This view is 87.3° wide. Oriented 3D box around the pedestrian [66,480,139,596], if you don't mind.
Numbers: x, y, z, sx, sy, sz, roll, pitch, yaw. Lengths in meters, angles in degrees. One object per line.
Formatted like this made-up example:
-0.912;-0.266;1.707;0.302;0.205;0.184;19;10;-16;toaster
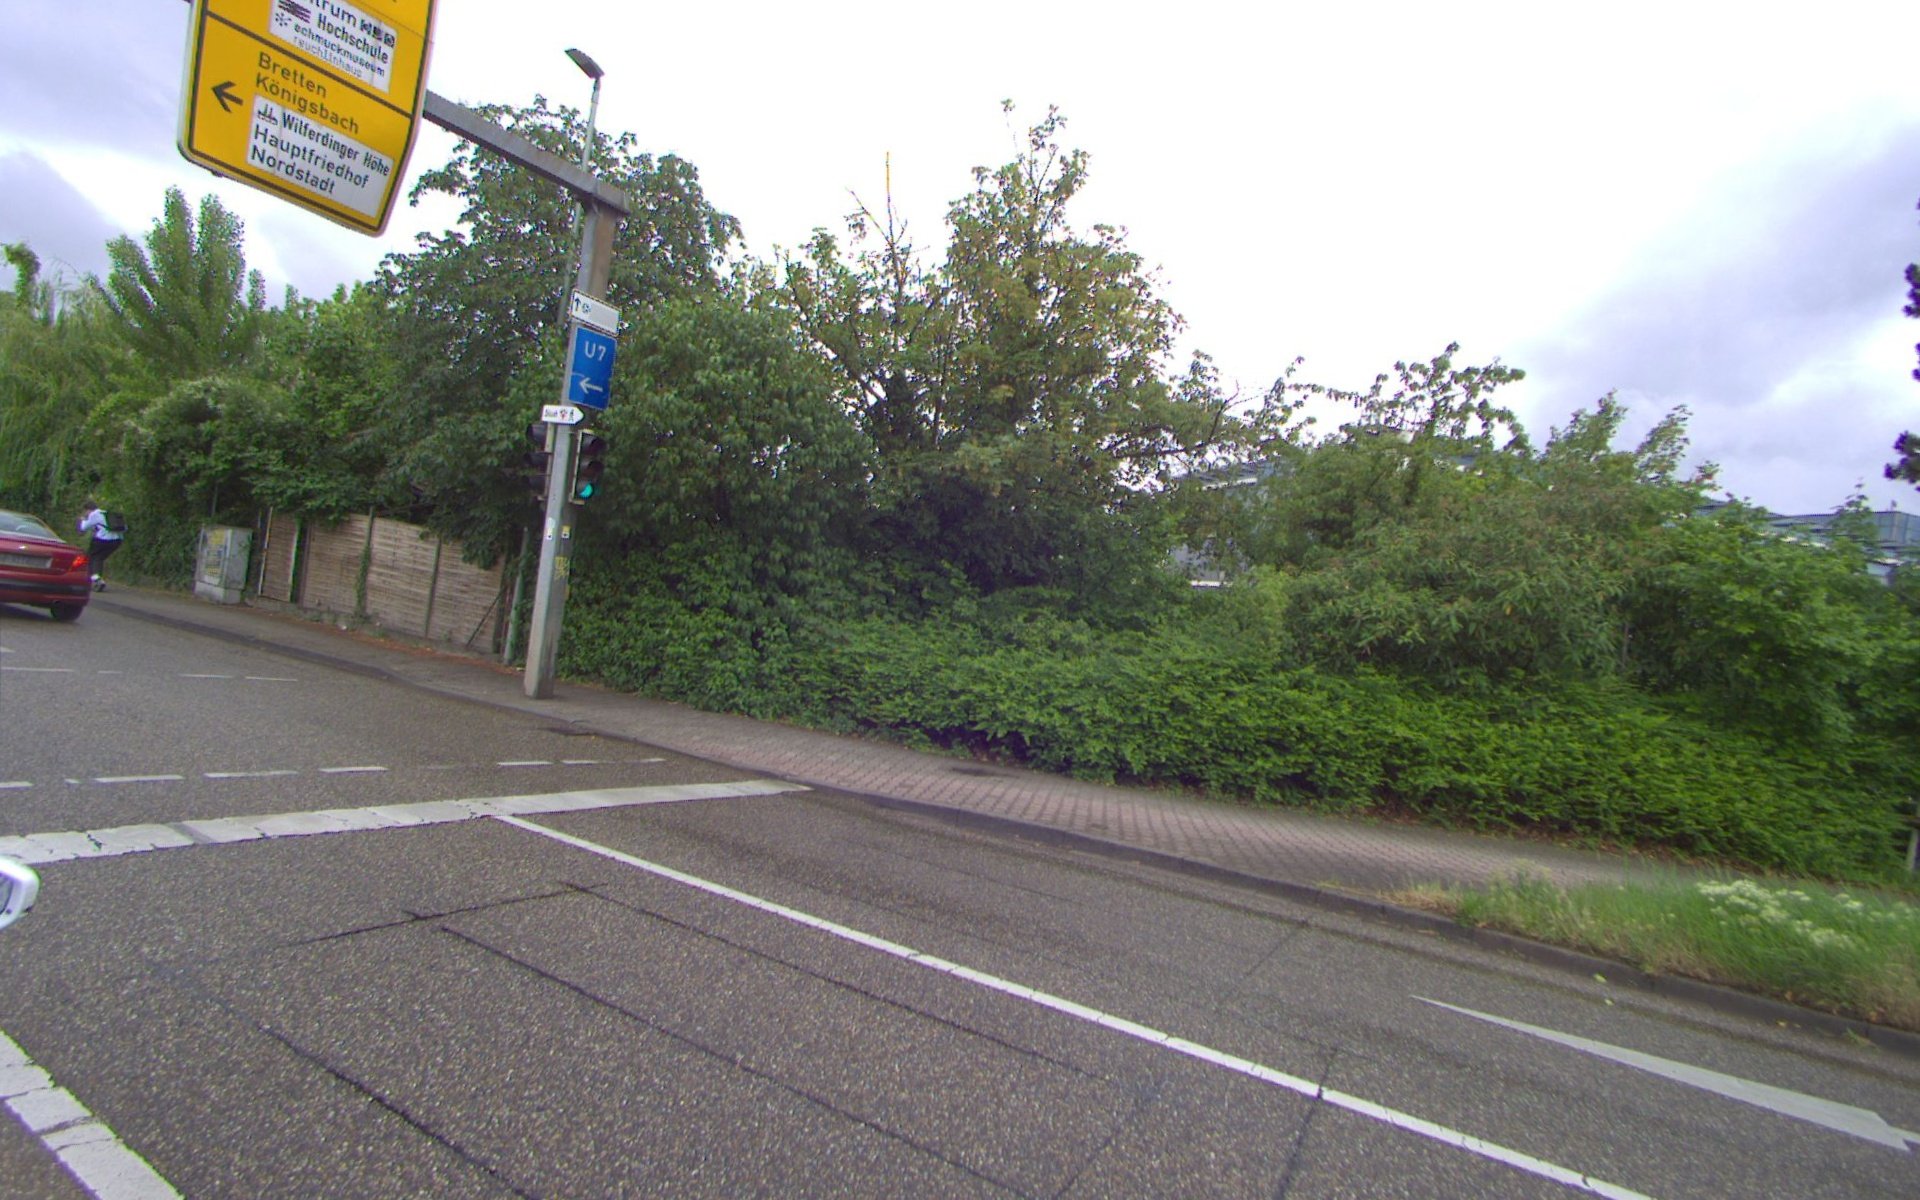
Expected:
-15.898;-1.148;18.658;0.705;2.026;0.657;7;0;28;pedestrian

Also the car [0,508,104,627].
-13.677;-0.611;13.777;3.625;1.419;1.630;7;-2;28;car

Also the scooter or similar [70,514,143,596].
-15.775;-0.836;18.585;1.361;1.378;0.462;7;0;28;scooter or similar
